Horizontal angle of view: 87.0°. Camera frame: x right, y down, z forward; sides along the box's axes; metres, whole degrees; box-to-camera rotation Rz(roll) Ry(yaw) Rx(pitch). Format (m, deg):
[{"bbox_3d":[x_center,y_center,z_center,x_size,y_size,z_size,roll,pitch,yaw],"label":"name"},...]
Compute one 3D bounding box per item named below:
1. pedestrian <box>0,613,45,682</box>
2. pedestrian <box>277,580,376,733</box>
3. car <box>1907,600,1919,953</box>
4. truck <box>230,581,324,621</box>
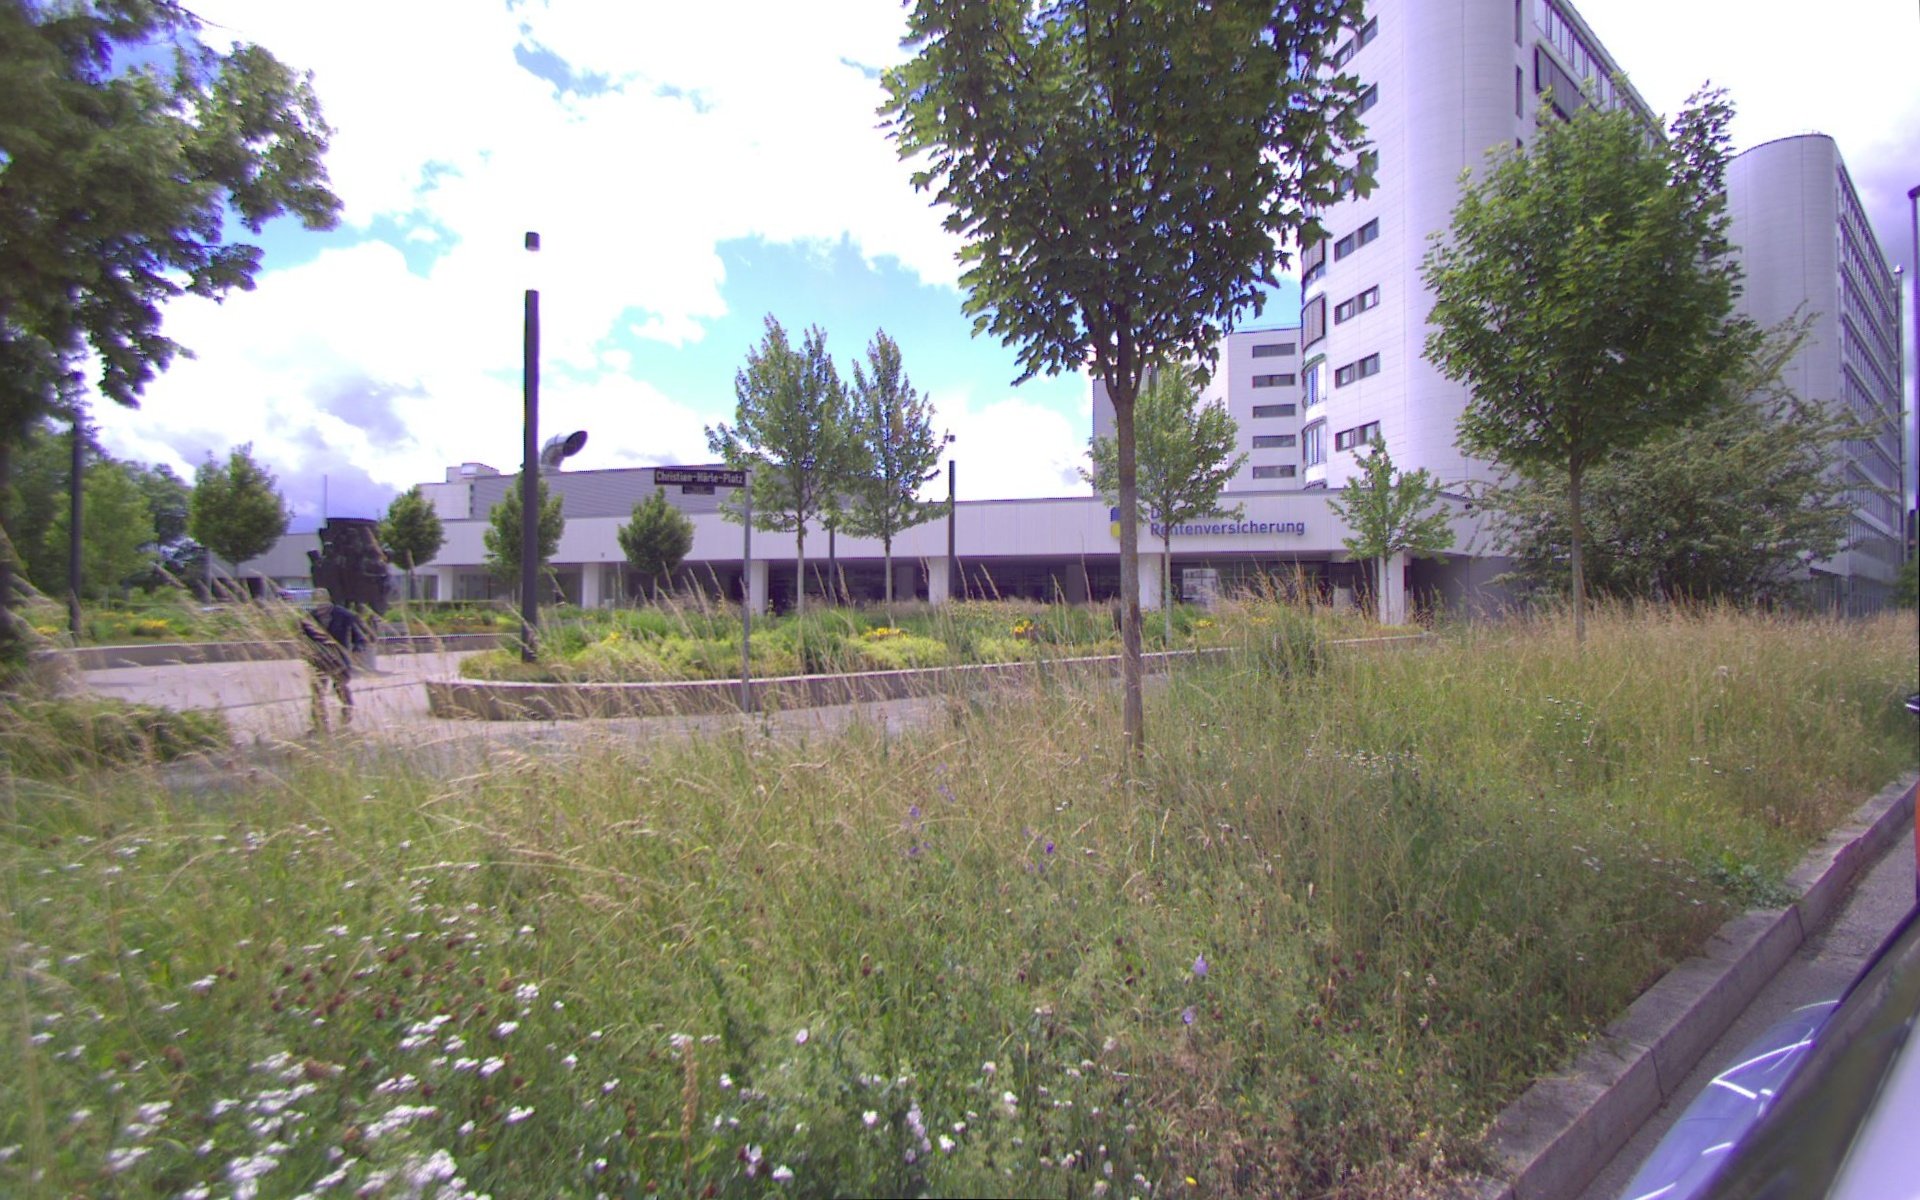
[{"bbox_3d":[-17.386,0.857,18.704,0.621,1.238,0.620,0,0,-36],"label":"pedestrian"},{"bbox_3d":[-7.099,0.611,11.377,0.756,1.646,0.766,1,0,-18],"label":"pedestrian"},{"bbox_3d":[5.812,0.747,4.640,3.611,1.434,1.748,0,1,-41],"label":"car"},{"bbox_3d":[-36.139,0.056,53.577,3.941,2.039,1.991,1,0,14],"label":"truck"}]
